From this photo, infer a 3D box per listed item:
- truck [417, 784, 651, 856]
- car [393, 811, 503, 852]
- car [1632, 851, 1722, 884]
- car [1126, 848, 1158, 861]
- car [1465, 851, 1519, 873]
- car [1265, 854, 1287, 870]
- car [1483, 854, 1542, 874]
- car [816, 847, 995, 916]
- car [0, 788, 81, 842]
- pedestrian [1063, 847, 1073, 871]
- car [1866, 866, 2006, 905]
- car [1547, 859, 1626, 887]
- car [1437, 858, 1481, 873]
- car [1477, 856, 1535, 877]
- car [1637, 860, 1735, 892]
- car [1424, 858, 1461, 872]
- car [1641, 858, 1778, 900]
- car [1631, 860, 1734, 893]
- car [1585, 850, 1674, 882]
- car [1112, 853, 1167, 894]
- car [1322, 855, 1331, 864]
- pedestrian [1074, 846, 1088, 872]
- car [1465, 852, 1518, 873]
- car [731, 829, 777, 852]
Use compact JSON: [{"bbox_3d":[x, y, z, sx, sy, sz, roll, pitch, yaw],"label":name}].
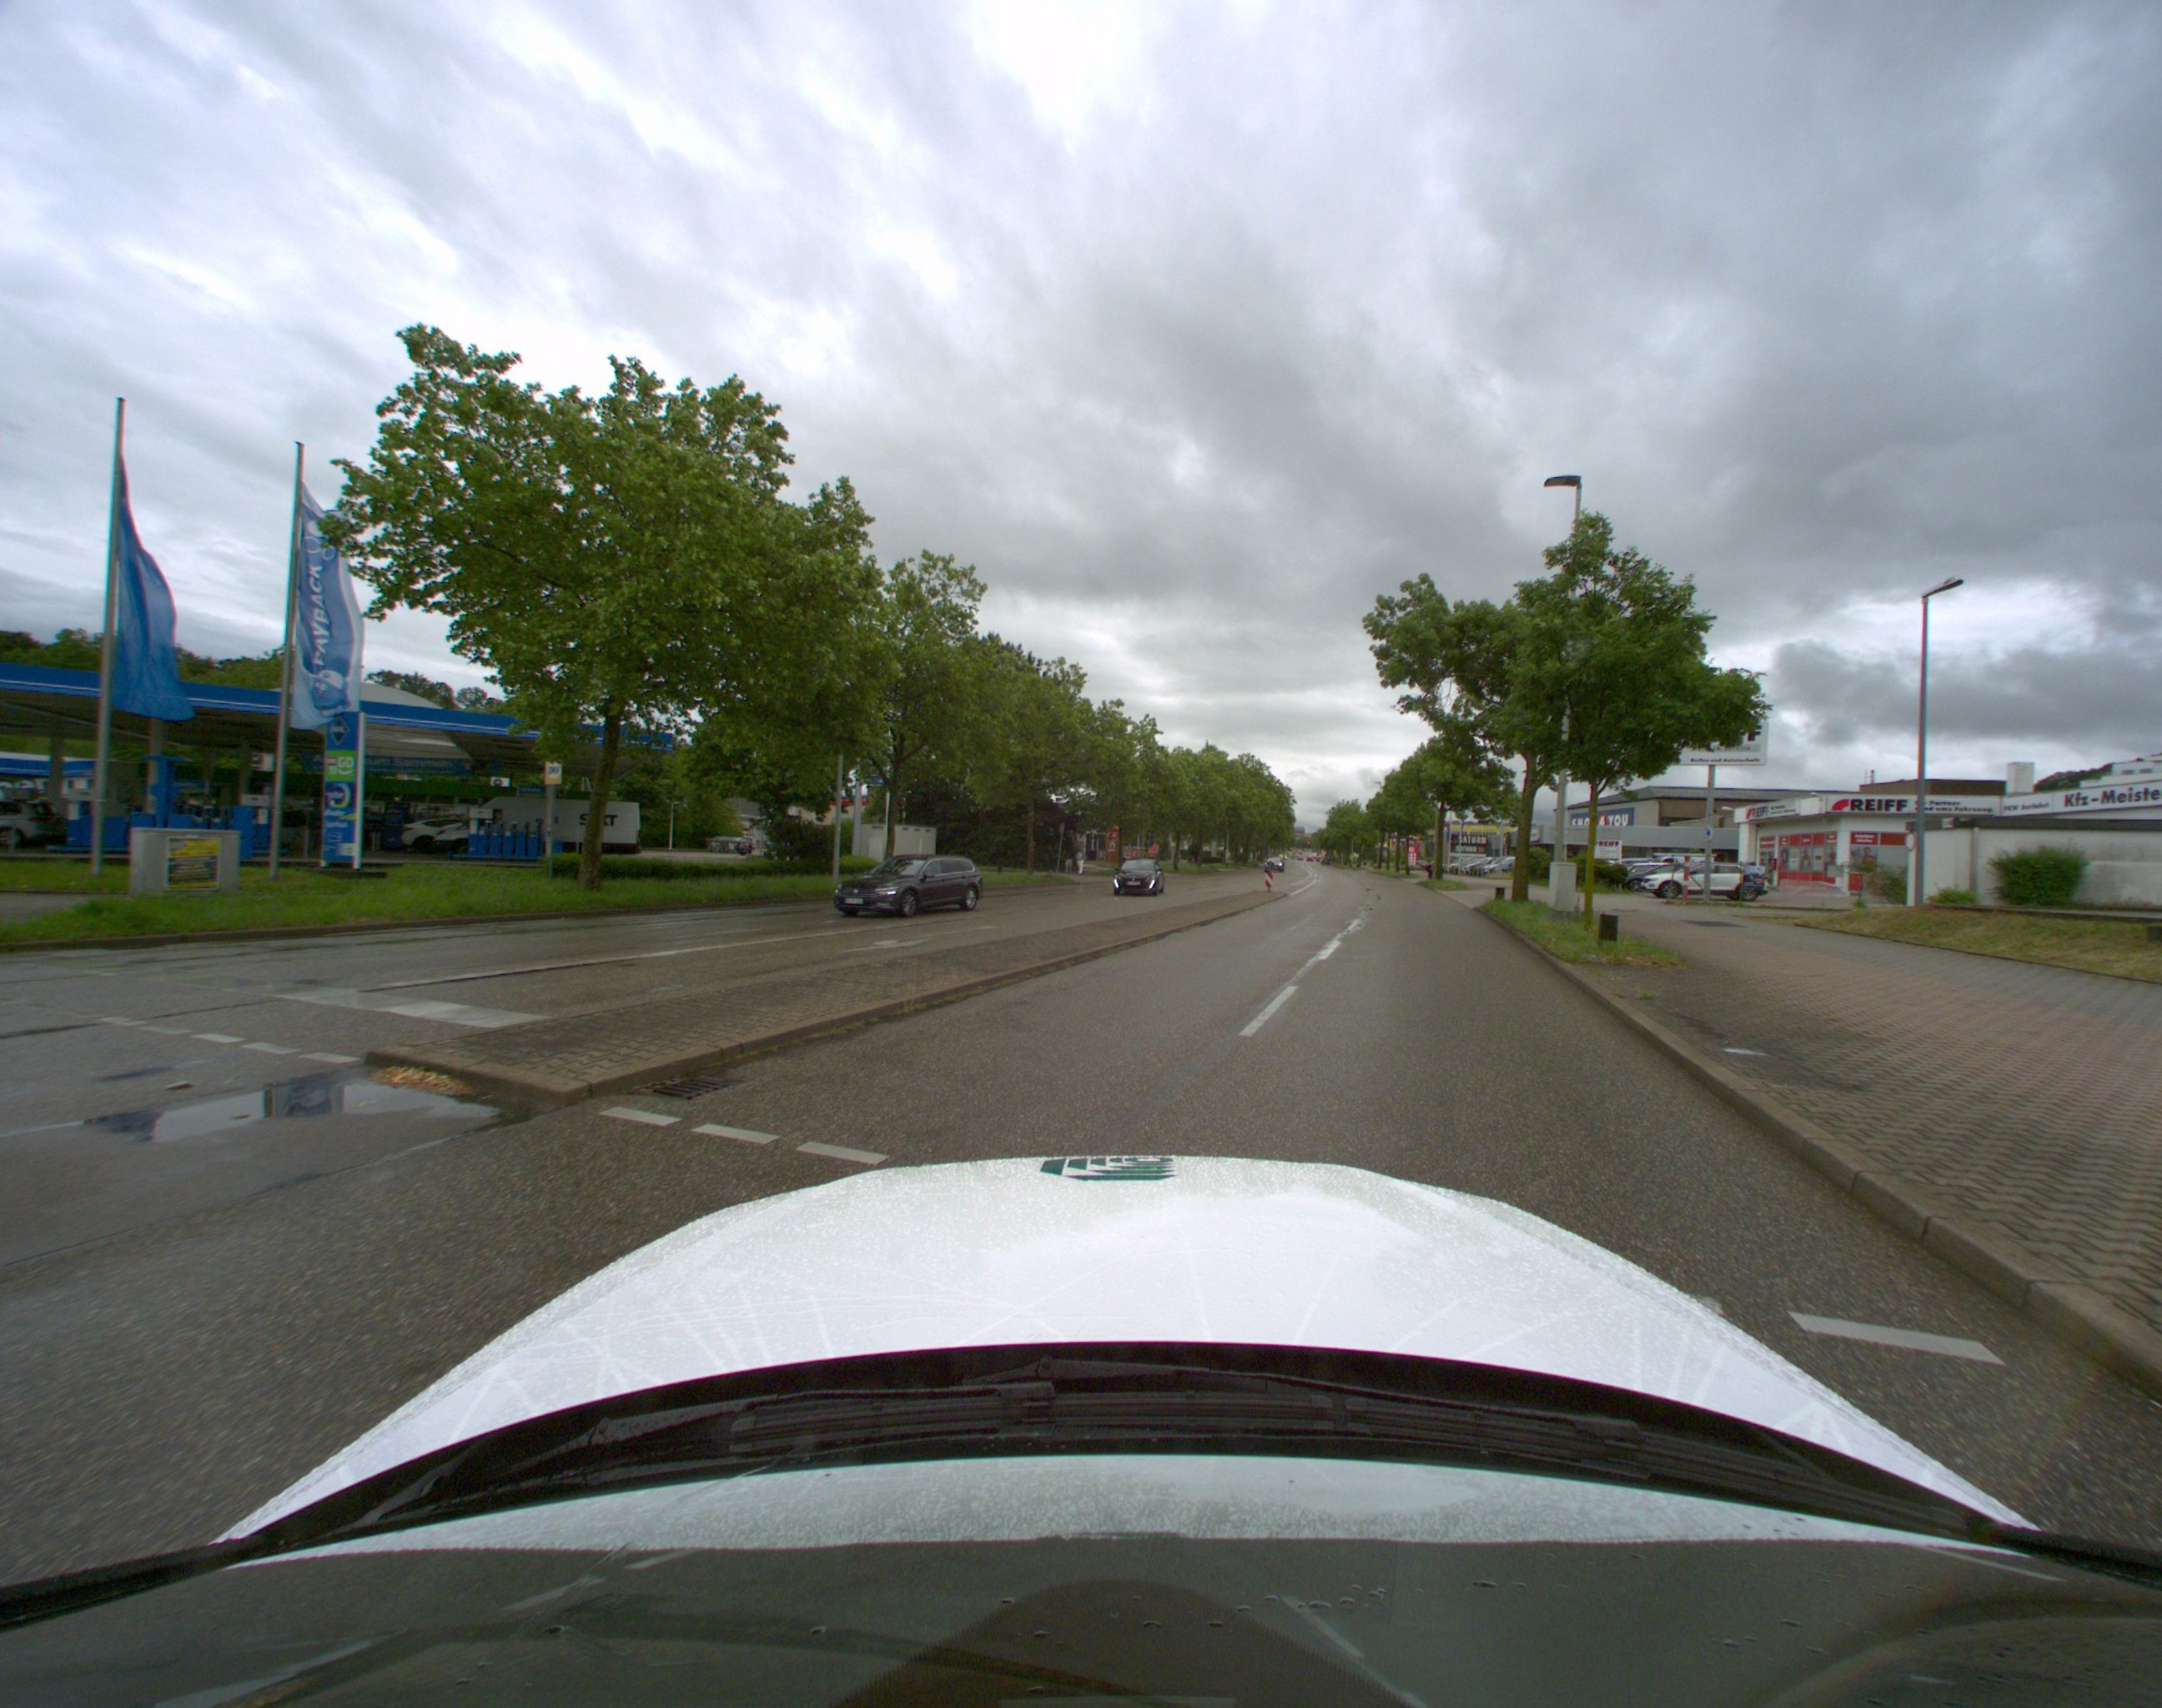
[{"bbox_3d":[-22.557,-1.301,34.024,7.907,2.675,2.132,0,0,-36],"label":"truck"},{"bbox_3d":[-28.021,-0.959,36.194,3.573,1.582,1.673,3,-1,-30],"label":"car"},{"bbox_3d":[41.344,0.903,56.585,4.618,2.149,1.973,1,0,15],"label":"car"},{"bbox_3d":[6.635,0.062,88.812,3.148,1.155,1.298,5,1,23],"label":"car"},{"bbox_3d":[36.338,0.696,72.111,3.955,1.786,1.820,-3,-1,17],"label":"car"},{"bbox_3d":[20.425,0.874,85.361,1.797,1.562,4.619,1,-1,19],"label":"car"},{"bbox_3d":[34.415,0.818,65.040,3.804,1.461,1.835,-2,-1,15],"label":"car"},{"bbox_3d":[-4.238,0.607,20.569,1.976,1.508,4.756,1,0,23],"label":"car"},{"bbox_3d":[-38.813,-1.447,28.650,4.143,1.807,1.926,2,2,-33],"label":"car"},{"bbox_3d":[-0.900,0.353,56.231,0.507,1.683,0.543,1,0,17],"label":"pedestrian"},{"bbox_3d":[37.219,1.343,35.551,3.816,1.479,1.795,2,0,18],"label":"car"},{"bbox_3d":[31.254,1.152,50.371,4.016,1.597,1.997,1,0,36],"label":"car"},{"bbox_3d":[40.202,1.216,86.630,3.957,1.538,1.807,1,0,15],"label":"car"},{"bbox_3d":[35.243,1.071,67.559,3.955,1.543,1.820,-3,-1,17],"label":"car"},{"bbox_3d":[31.139,1.099,42.072,3.890,1.523,1.743,1,0,31],"label":"car"},{"bbox_3d":[42.271,1.298,95.286,3.812,1.604,1.803,-1,-1,16],"label":"car"},{"bbox_3d":[25.763,0.988,33.558,4.137,1.552,1.900,2,0,24],"label":"car"},{"bbox_3d":[29.519,1.070,40.126,3.949,1.522,1.729,1,0,31],"label":"car"},{"bbox_3d":[31.778,0.651,47.207,4.103,1.662,1.833,1,2,40],"label":"car"},{"bbox_3d":[2.405,0.745,32.631,1.632,1.508,3.907,1,0,13],"label":"car"},{"bbox_3d":[52.664,1.196,174.665,1.731,2.013,4.017,1,0,16],"label":"car"},{"bbox_3d":[-0.017,0.370,56.259,0.658,1.766,0.587,3,0,39],"label":"pedestrian"},{"bbox_3d":[37.433,0.774,74.395,3.958,1.588,1.819,-3,-1,14],"label":"car"},{"bbox_3d":[-27.659,-1.103,69.027,1.984,1.838,4.006,1,0,5],"label":"car"}]
